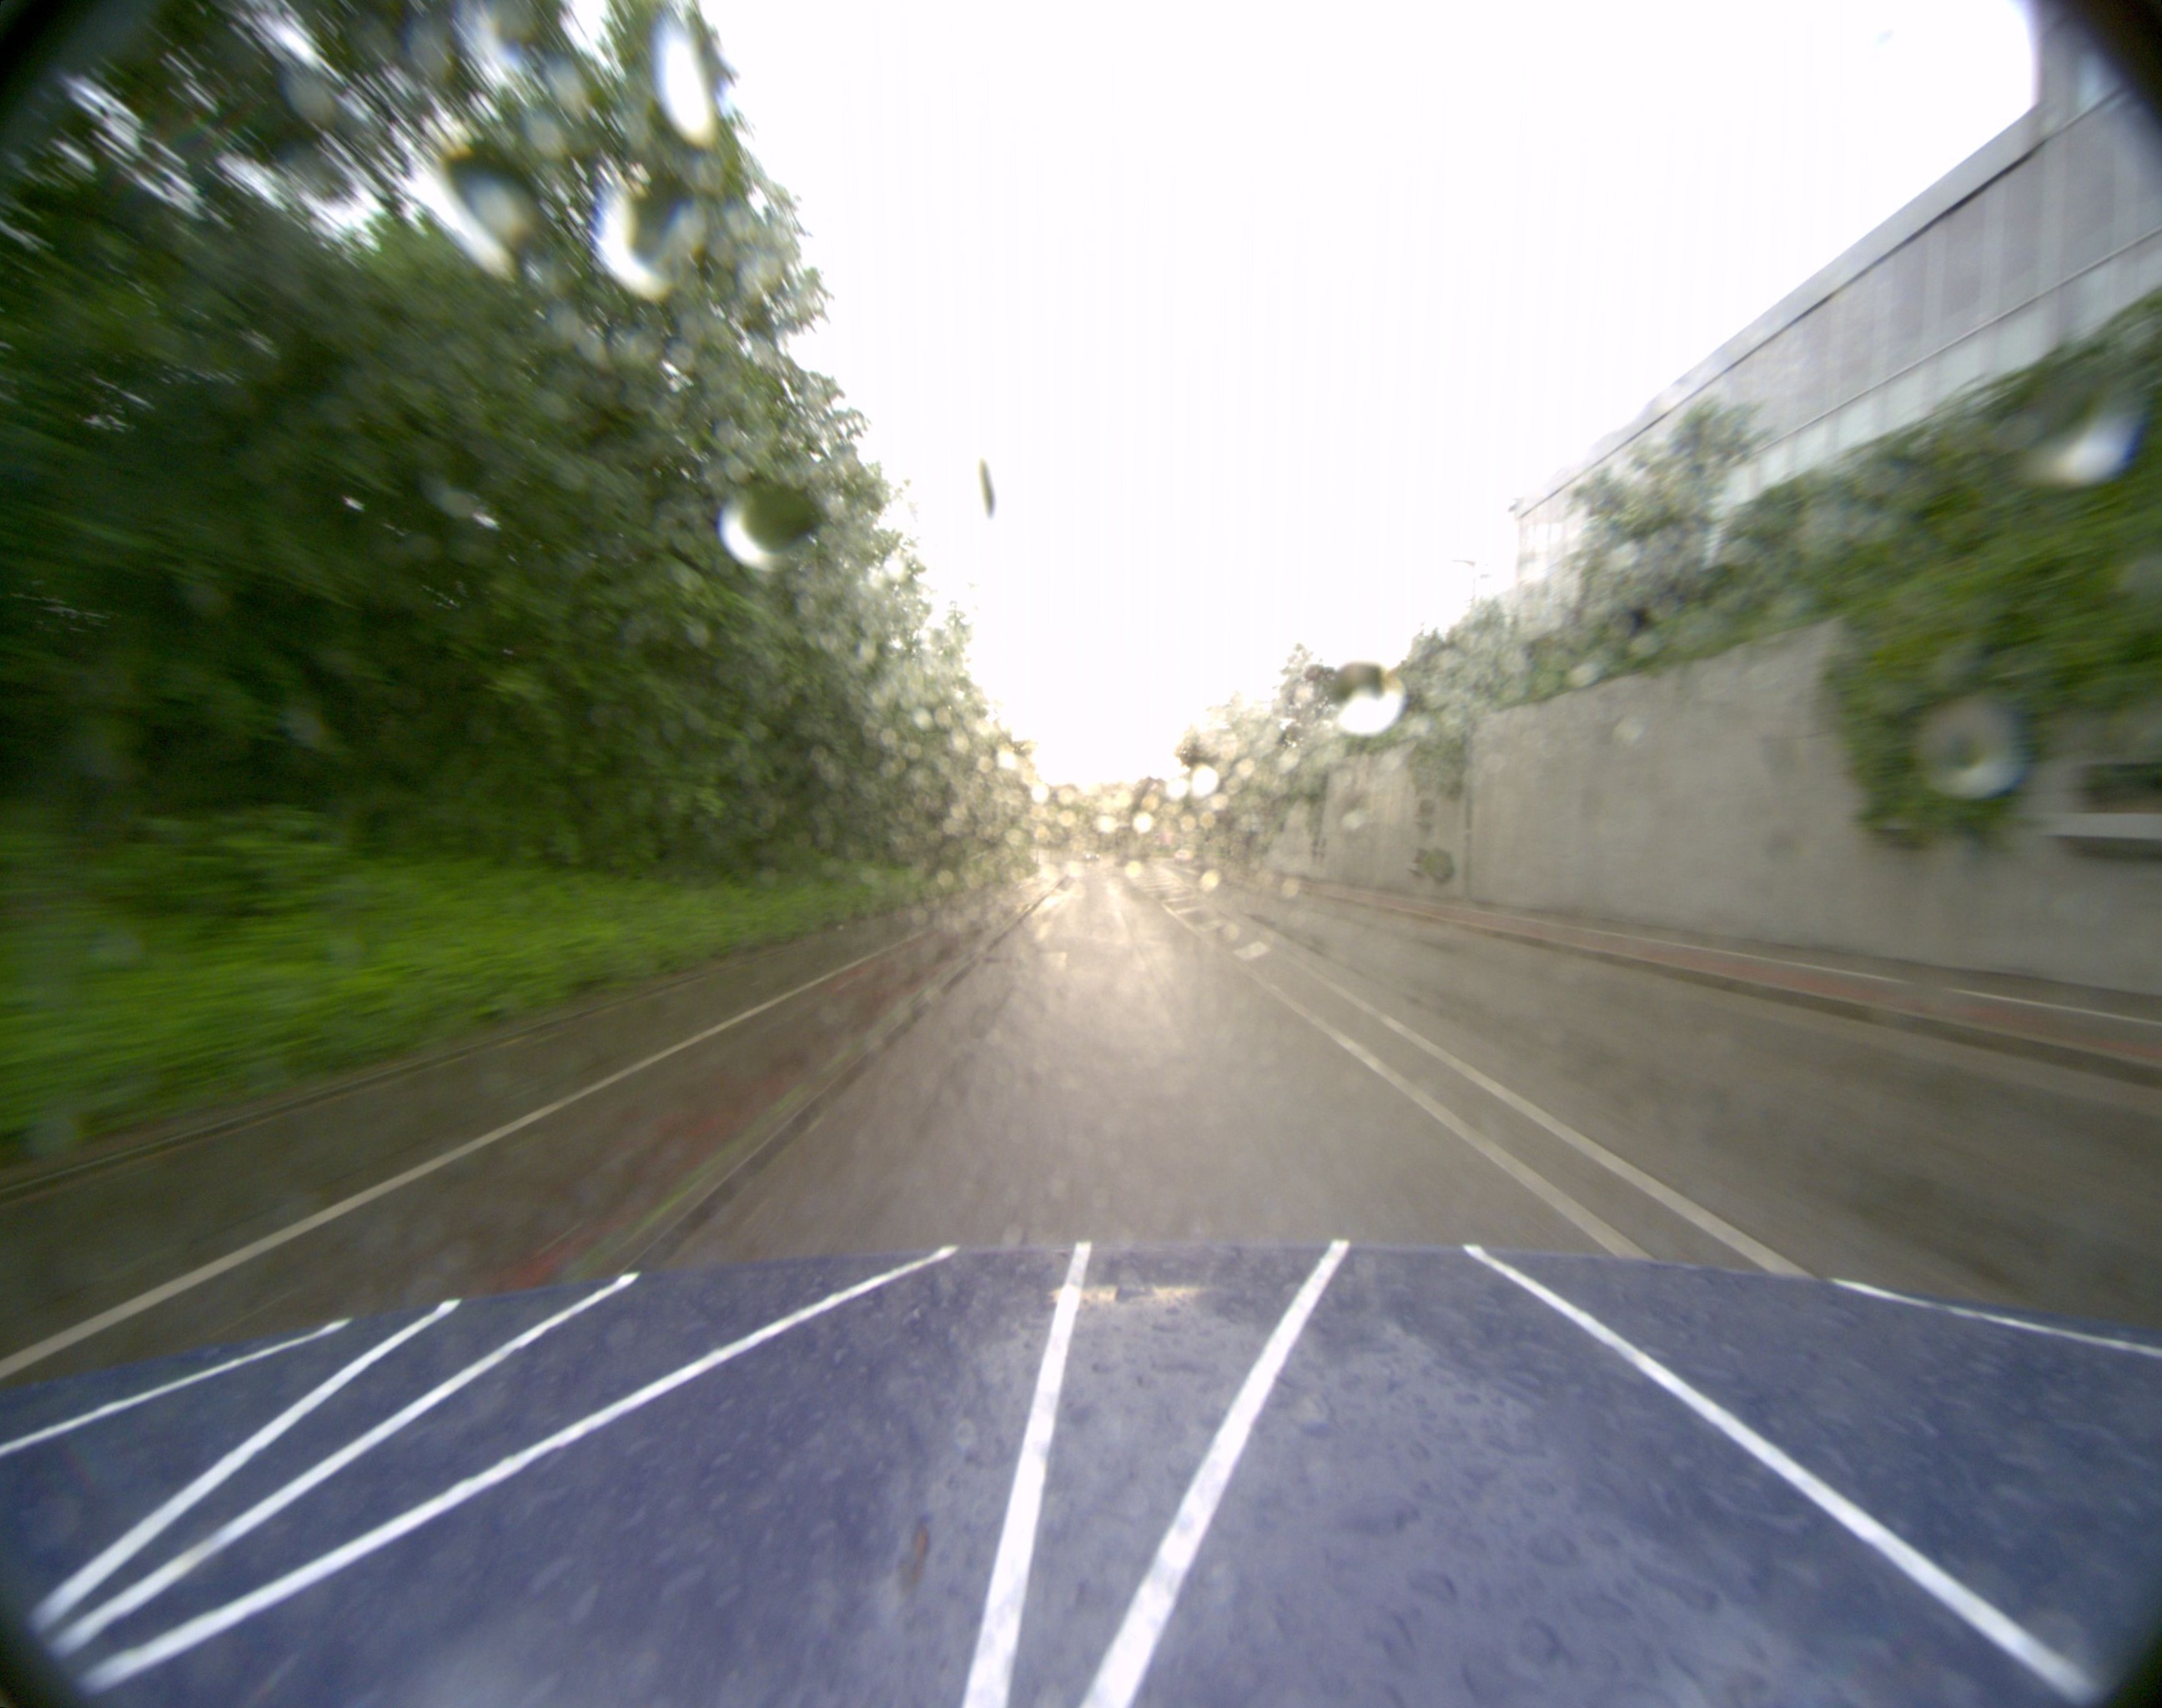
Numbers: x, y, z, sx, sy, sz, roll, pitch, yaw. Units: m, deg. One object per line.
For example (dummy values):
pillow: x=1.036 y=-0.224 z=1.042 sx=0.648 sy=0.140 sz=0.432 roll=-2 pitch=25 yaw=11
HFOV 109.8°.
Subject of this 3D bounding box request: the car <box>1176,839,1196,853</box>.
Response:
car: x=11.855 y=-0.870 z=85.451 sx=1.514 sy=1.440 sz=3.821 roll=-2 pitch=1 yaw=19
